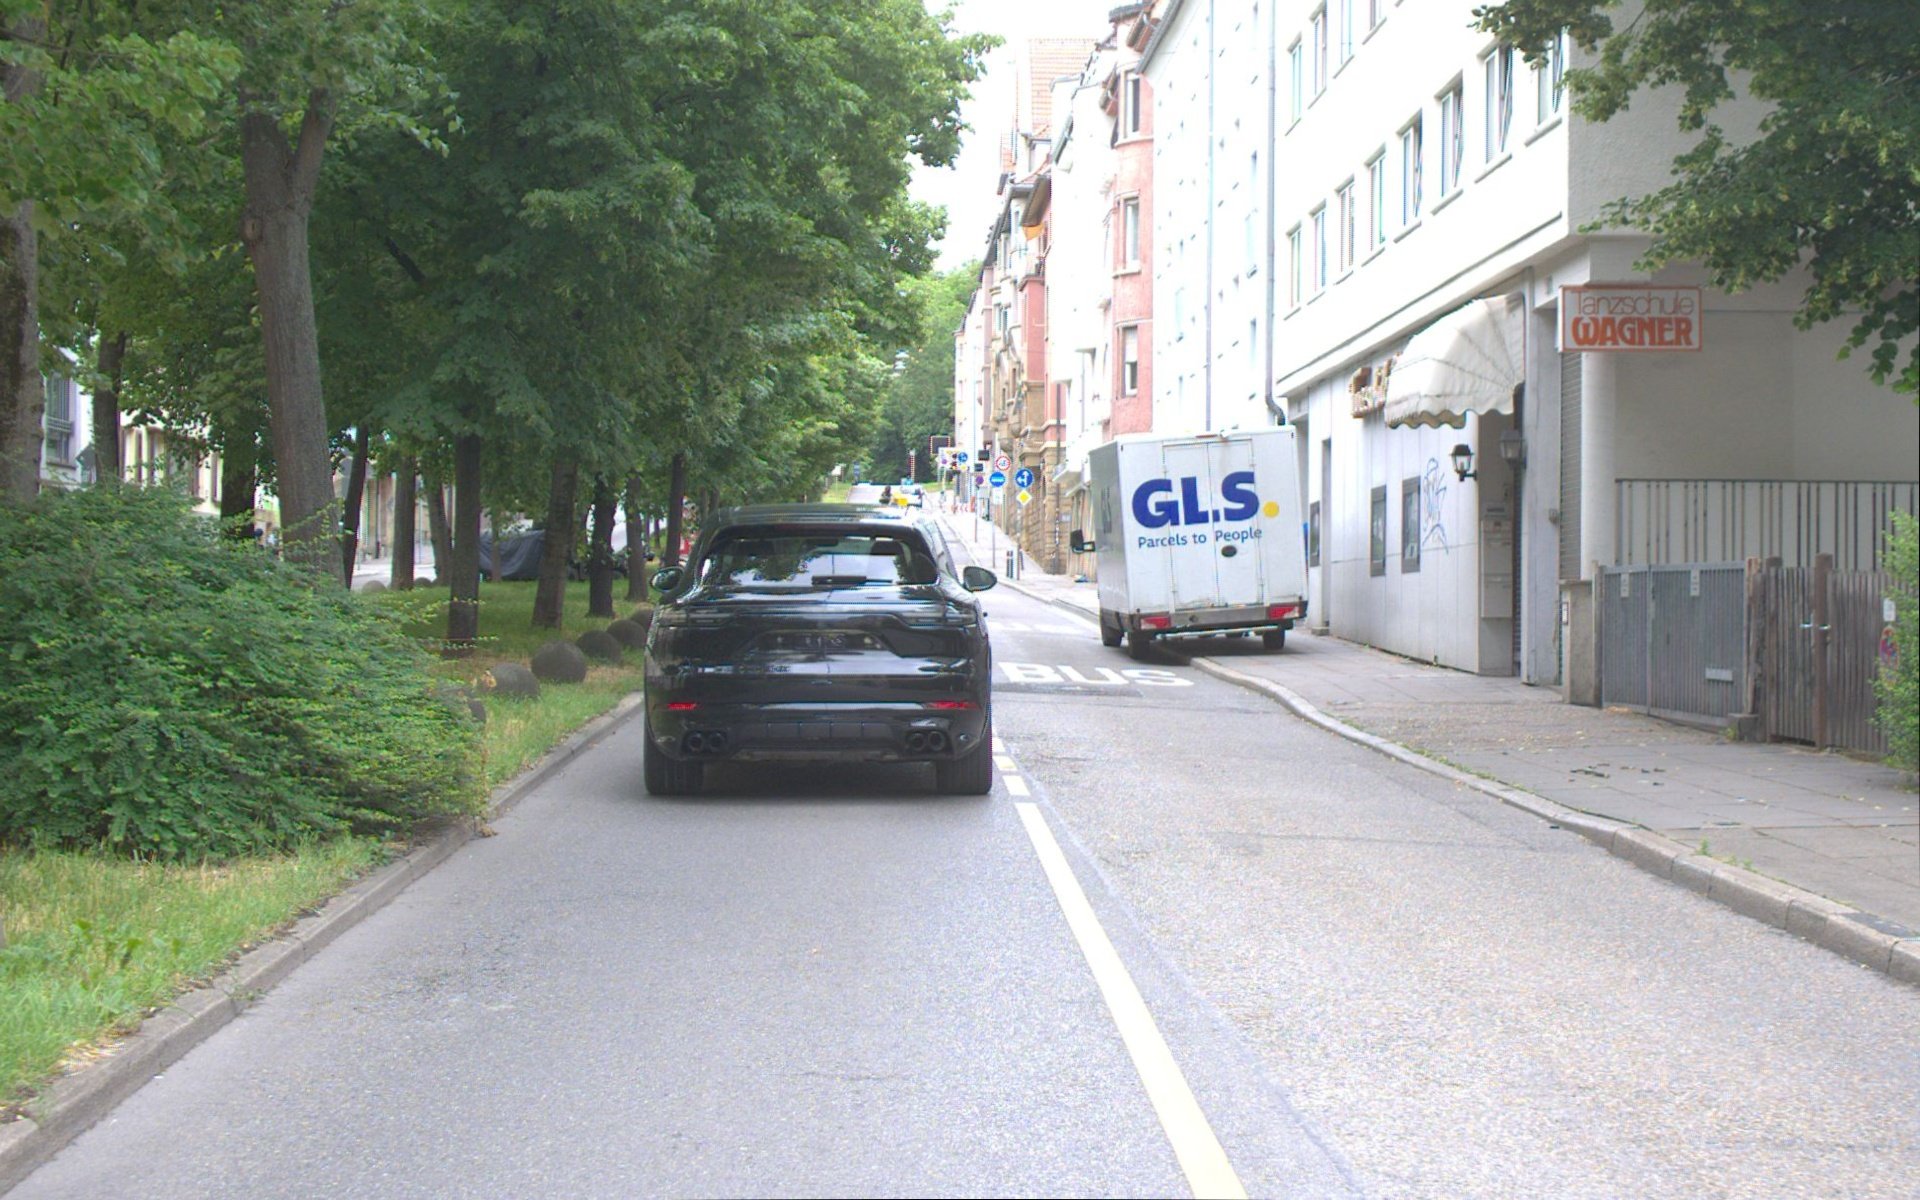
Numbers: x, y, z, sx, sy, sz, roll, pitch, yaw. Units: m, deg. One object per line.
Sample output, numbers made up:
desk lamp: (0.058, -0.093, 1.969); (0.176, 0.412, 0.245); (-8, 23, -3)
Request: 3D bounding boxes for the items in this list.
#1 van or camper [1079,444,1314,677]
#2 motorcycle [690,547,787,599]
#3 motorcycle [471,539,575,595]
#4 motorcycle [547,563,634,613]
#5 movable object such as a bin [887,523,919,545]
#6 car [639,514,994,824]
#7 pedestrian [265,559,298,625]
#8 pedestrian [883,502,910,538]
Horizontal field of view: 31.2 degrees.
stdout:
van or camper: (2.986, -0.592, 45.246); (2.480, 2.793, 7.239); (1, 2, -1)
motorcycle: (-5.464, -0.666, 85.032); (2.355, 1.231, 1.034); (1, 1, -2)
motorcycle: (-10.471, -0.788, 82.418); (2.382, 1.312, 1.046); (1, 1, -2)
motorcycle: (-9.198, -0.307, 85.574); (2.029, 1.231, 0.896); (0, 1, 4)
movable object such as a bin: (-3.252, -3.785, 196.957); (1.237, 1.270, 1.847); (0, 0, -22)
car: (-0.875, 0.355, 20.664); (1.903, 1.660, 4.136); (1, 0, -3)
pedestrian: (-16.735, -0.196, 84.780); (0.662, 1.610, 0.579); (1, 1, 1)
pedestrian: (-3.668, -4.619, 198.344); (1.300, 2.007, 1.020); (1, 0, -17)
